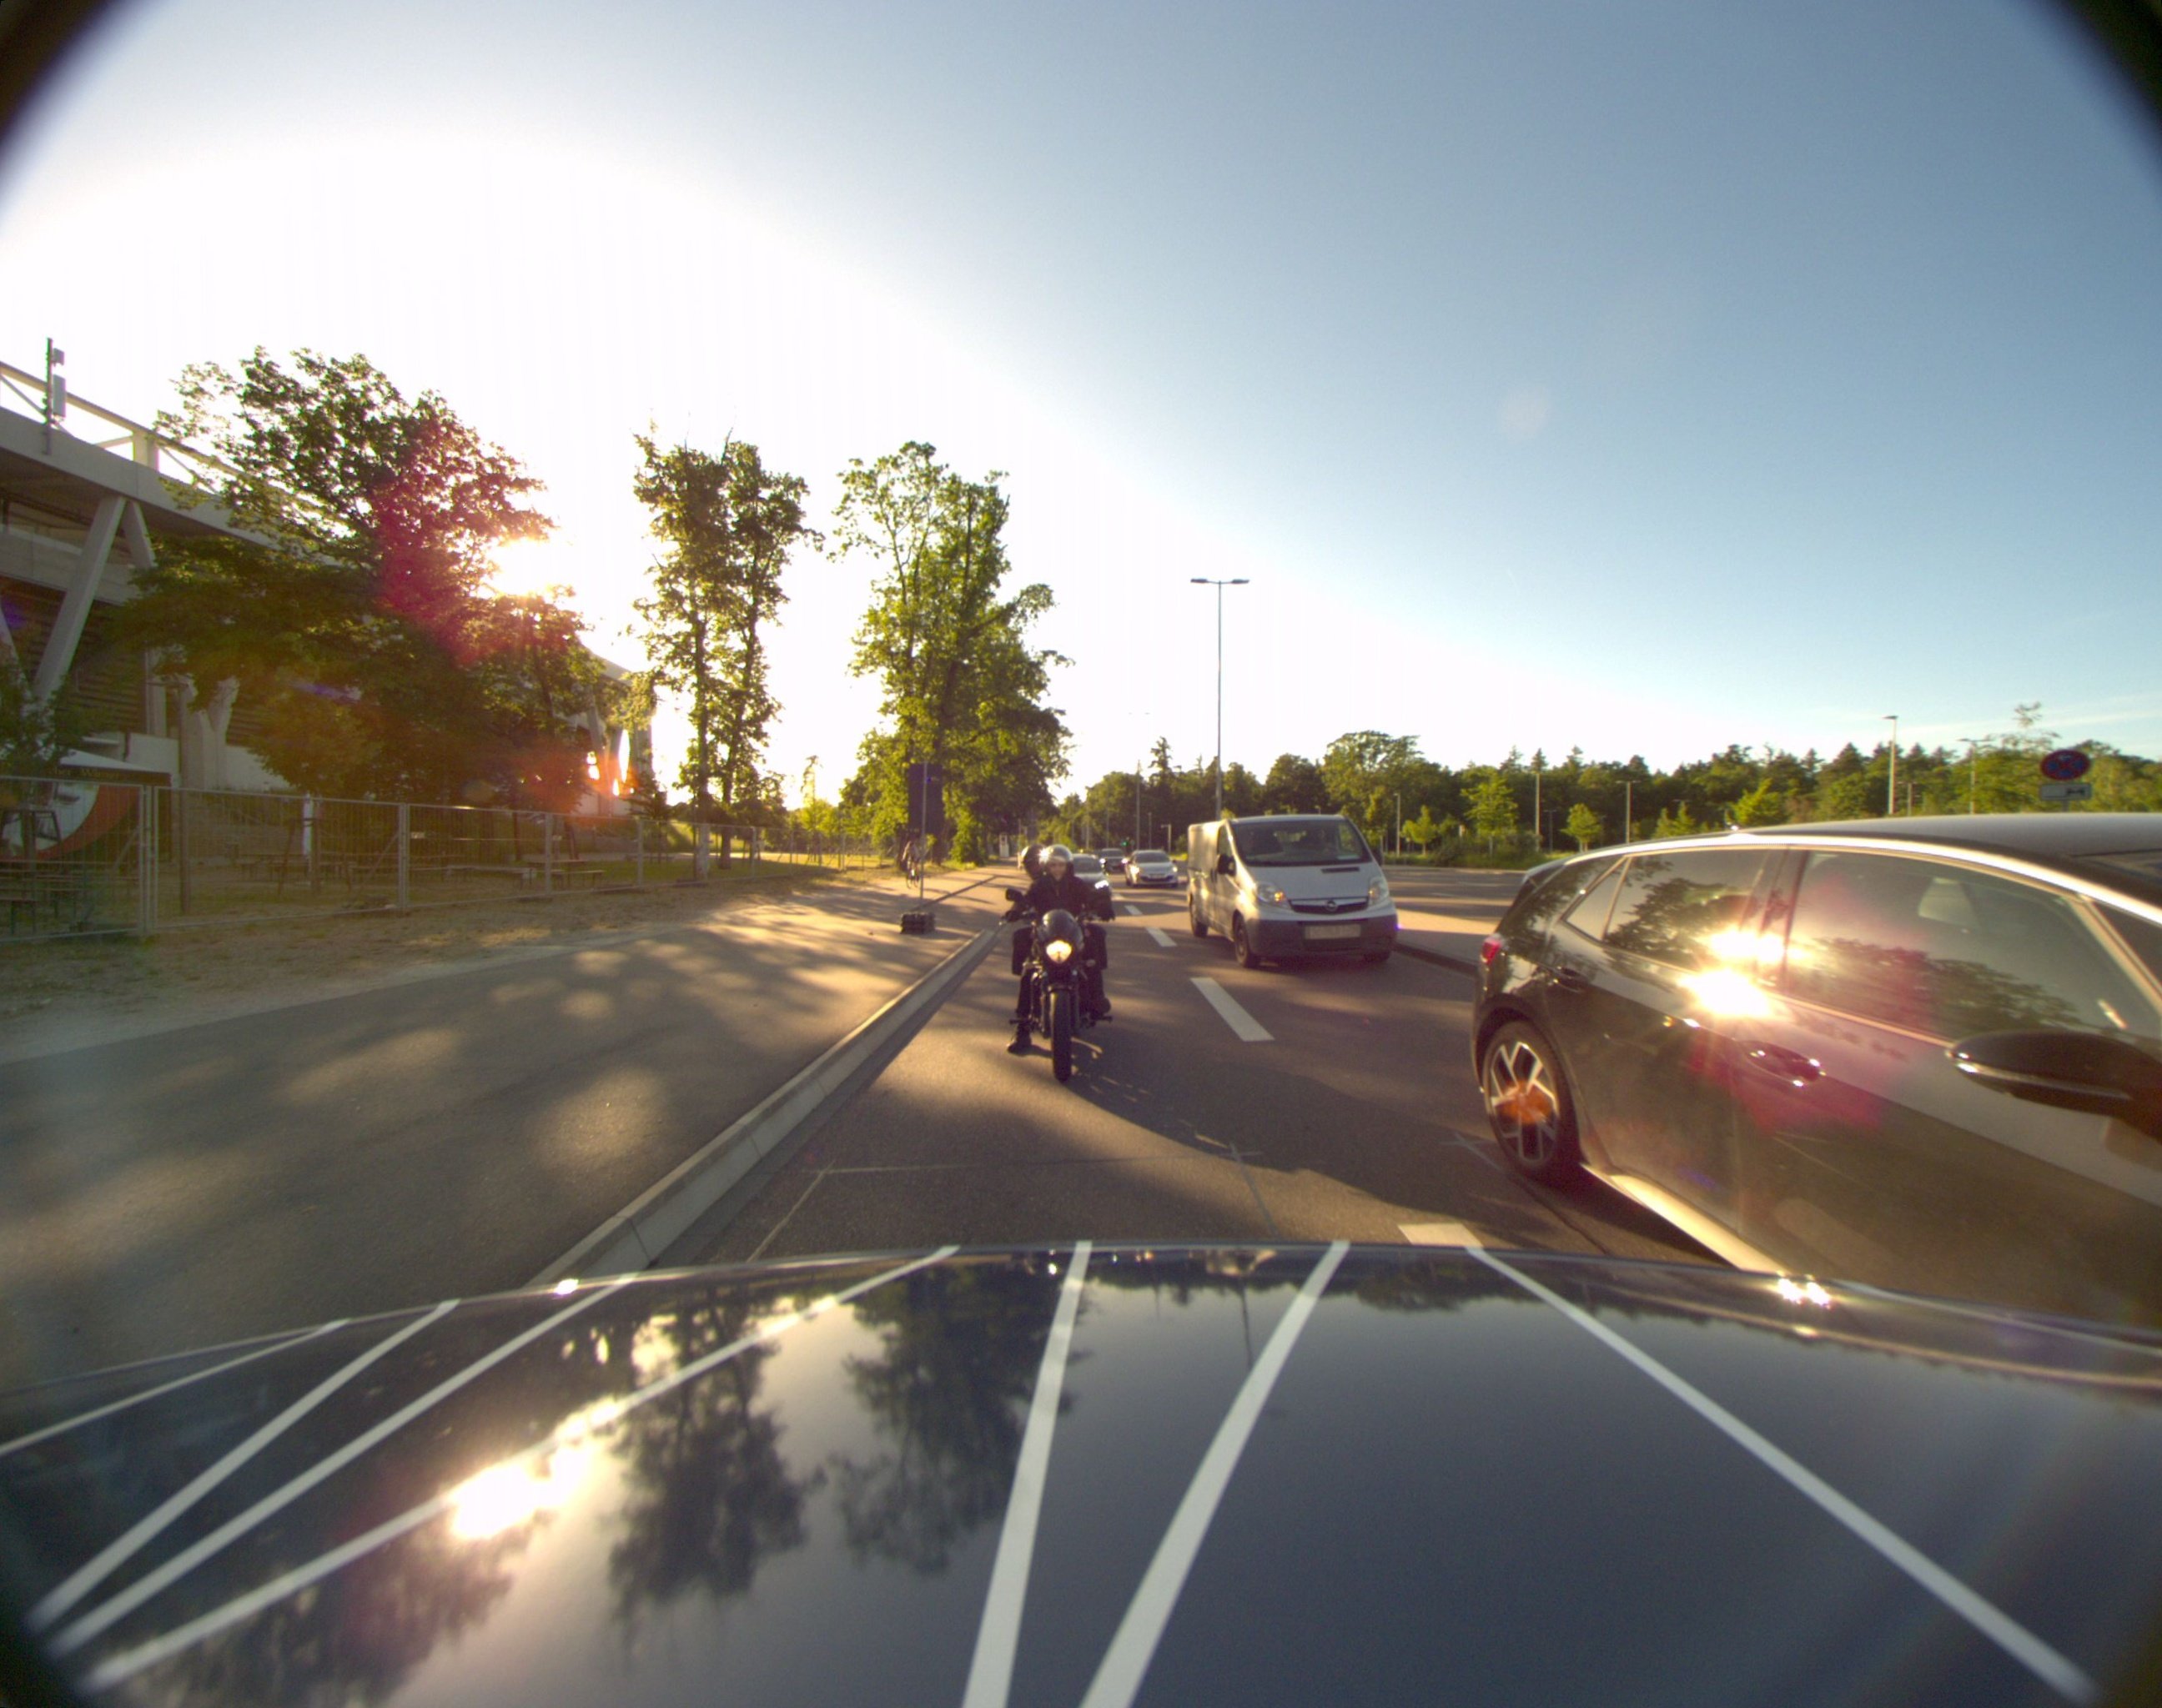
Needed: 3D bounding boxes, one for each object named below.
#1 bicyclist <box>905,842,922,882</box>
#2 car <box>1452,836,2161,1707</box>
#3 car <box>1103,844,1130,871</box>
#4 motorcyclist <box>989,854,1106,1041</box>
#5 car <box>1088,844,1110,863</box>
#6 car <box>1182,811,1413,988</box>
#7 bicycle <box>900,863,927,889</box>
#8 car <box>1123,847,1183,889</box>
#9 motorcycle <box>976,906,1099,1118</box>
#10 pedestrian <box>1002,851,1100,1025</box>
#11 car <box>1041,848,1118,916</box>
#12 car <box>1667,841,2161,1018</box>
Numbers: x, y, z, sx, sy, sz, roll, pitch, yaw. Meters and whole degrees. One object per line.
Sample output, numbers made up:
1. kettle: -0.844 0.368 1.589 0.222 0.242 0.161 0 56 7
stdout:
1. bicyclist: -5.951 0.279 27.012 0.451 1.412 0.575 0 1 1
2. car: 2.769 0.756 1.690 1.883 1.528 3.999 -2 1 0
3. car: 2.336 0.198 51.337 1.638 1.674 3.999 -2 1 1
4. motorcyclist: -0.248 0.706 5.939 0.822 1.367 0.476 -2 2 1
5. car: 1.630 -0.022 70.516 1.883 1.629 5.048 -2 0 0
6. car: 2.822 0.514 11.232 1.883 1.951 5.048 -2 0 0
7. bicycle: -5.949 0.778 27.046 0.481 0.854 1.909 0 1 1
8. car: 2.853 0.518 30.986 1.883 1.515 5.048 -2 0 0
9. motorcycle: -0.250 1.068 6.029 0.717 1.058 2.721 -2 1 1
10. pedestrian: -0.240 0.684 6.442 0.739 1.387 0.500 -2 2 1
11. car: -0.047 0.696 21.701 1.883 1.629 5.048 -2 0 0
12. car: 8.578 0.587 8.145 1.604 1.388 3.843 -2 1 0
